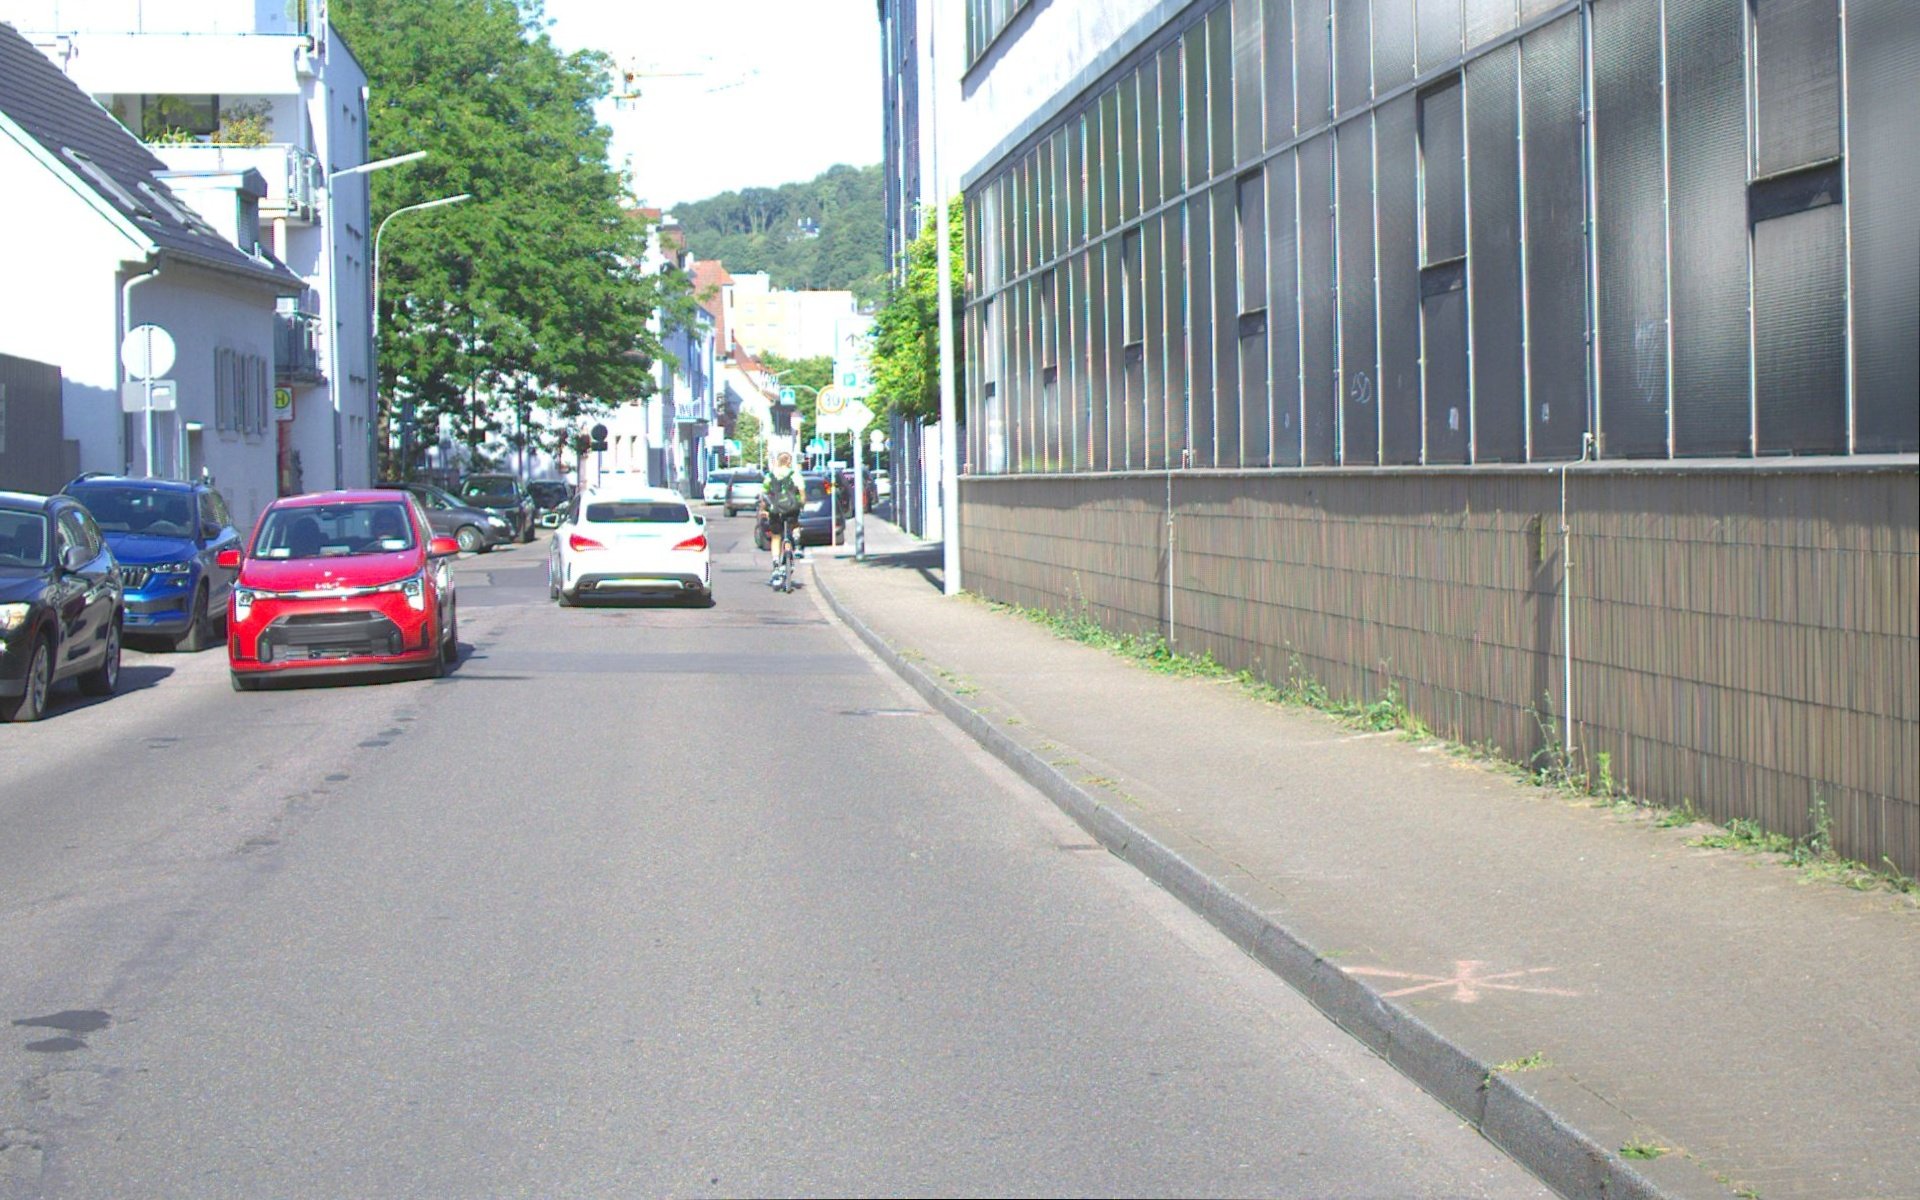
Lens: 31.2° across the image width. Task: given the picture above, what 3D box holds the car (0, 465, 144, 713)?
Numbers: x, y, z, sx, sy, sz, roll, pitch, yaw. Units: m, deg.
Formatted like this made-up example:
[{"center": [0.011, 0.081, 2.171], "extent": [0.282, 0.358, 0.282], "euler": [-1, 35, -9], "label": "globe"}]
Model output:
[{"center": [-7.215, -0.153, 24.896], "extent": [1.857, 1.581, 4.337], "euler": [0, 3, -4], "label": "car"}]

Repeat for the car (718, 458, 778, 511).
[{"center": [-7.523, -4.109, 121.974], "extent": [1.853, 1.785, 4.609], "euler": [-1, 3, -6], "label": "car"}]

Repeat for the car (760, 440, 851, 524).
[{"center": [-3.242, -2.449, 71.538], "extent": [1.629, 1.581, 4.070], "euler": [-4, 2, -5], "label": "car"}]

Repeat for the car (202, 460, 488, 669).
[{"center": [-4.824, -0.327, 27.472], "extent": [1.842, 1.486, 4.145], "euler": [-2, 2, -5], "label": "car"}]

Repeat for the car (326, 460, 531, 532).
[{"center": [-11.628, -2.280, 75.373], "extent": [4.131, 1.486, 1.848], "euler": [-1, 2, 2], "label": "car"}]

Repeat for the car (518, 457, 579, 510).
[{"center": [-12.781, -3.644, 106.926], "extent": [1.704, 1.570, 3.915], "euler": [-1, 3, -5], "label": "car"}]

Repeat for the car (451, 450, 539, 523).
[{"center": [-11.957, -2.953, 88.696], "extent": [1.853, 1.785, 4.608], "euler": [-1, 3, -3], "label": "car"}]

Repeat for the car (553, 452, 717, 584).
[{"center": [-3.911, -1.003, 41.342], "extent": [1.842, 1.486, 4.145], "euler": [-1, 2, -5], "label": "car"}]

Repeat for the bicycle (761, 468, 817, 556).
[{"center": [-2.290, -1.180, 45.846], "extent": [0.698, 1.126, 2.403], "euler": [-1, 2, -3], "label": "bicycle"}]

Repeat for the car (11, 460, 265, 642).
[{"center": [-7.989, -0.537, 33.760], "extent": [1.808, 1.581, 4.194], "euler": [0, 4, -5], "label": "car"}]

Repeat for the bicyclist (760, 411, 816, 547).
[{"center": [-2.294, -1.608, 45.712], "extent": [0.698, 1.784, 1.041], "euler": [-1, 2, -3], "label": "bicyclist"}]

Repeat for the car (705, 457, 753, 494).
[{"center": [-10.919, -5.910, 163.044], "extent": [1.945, 1.581, 4.622], "euler": [-4, 2, -1], "label": "car"}]
